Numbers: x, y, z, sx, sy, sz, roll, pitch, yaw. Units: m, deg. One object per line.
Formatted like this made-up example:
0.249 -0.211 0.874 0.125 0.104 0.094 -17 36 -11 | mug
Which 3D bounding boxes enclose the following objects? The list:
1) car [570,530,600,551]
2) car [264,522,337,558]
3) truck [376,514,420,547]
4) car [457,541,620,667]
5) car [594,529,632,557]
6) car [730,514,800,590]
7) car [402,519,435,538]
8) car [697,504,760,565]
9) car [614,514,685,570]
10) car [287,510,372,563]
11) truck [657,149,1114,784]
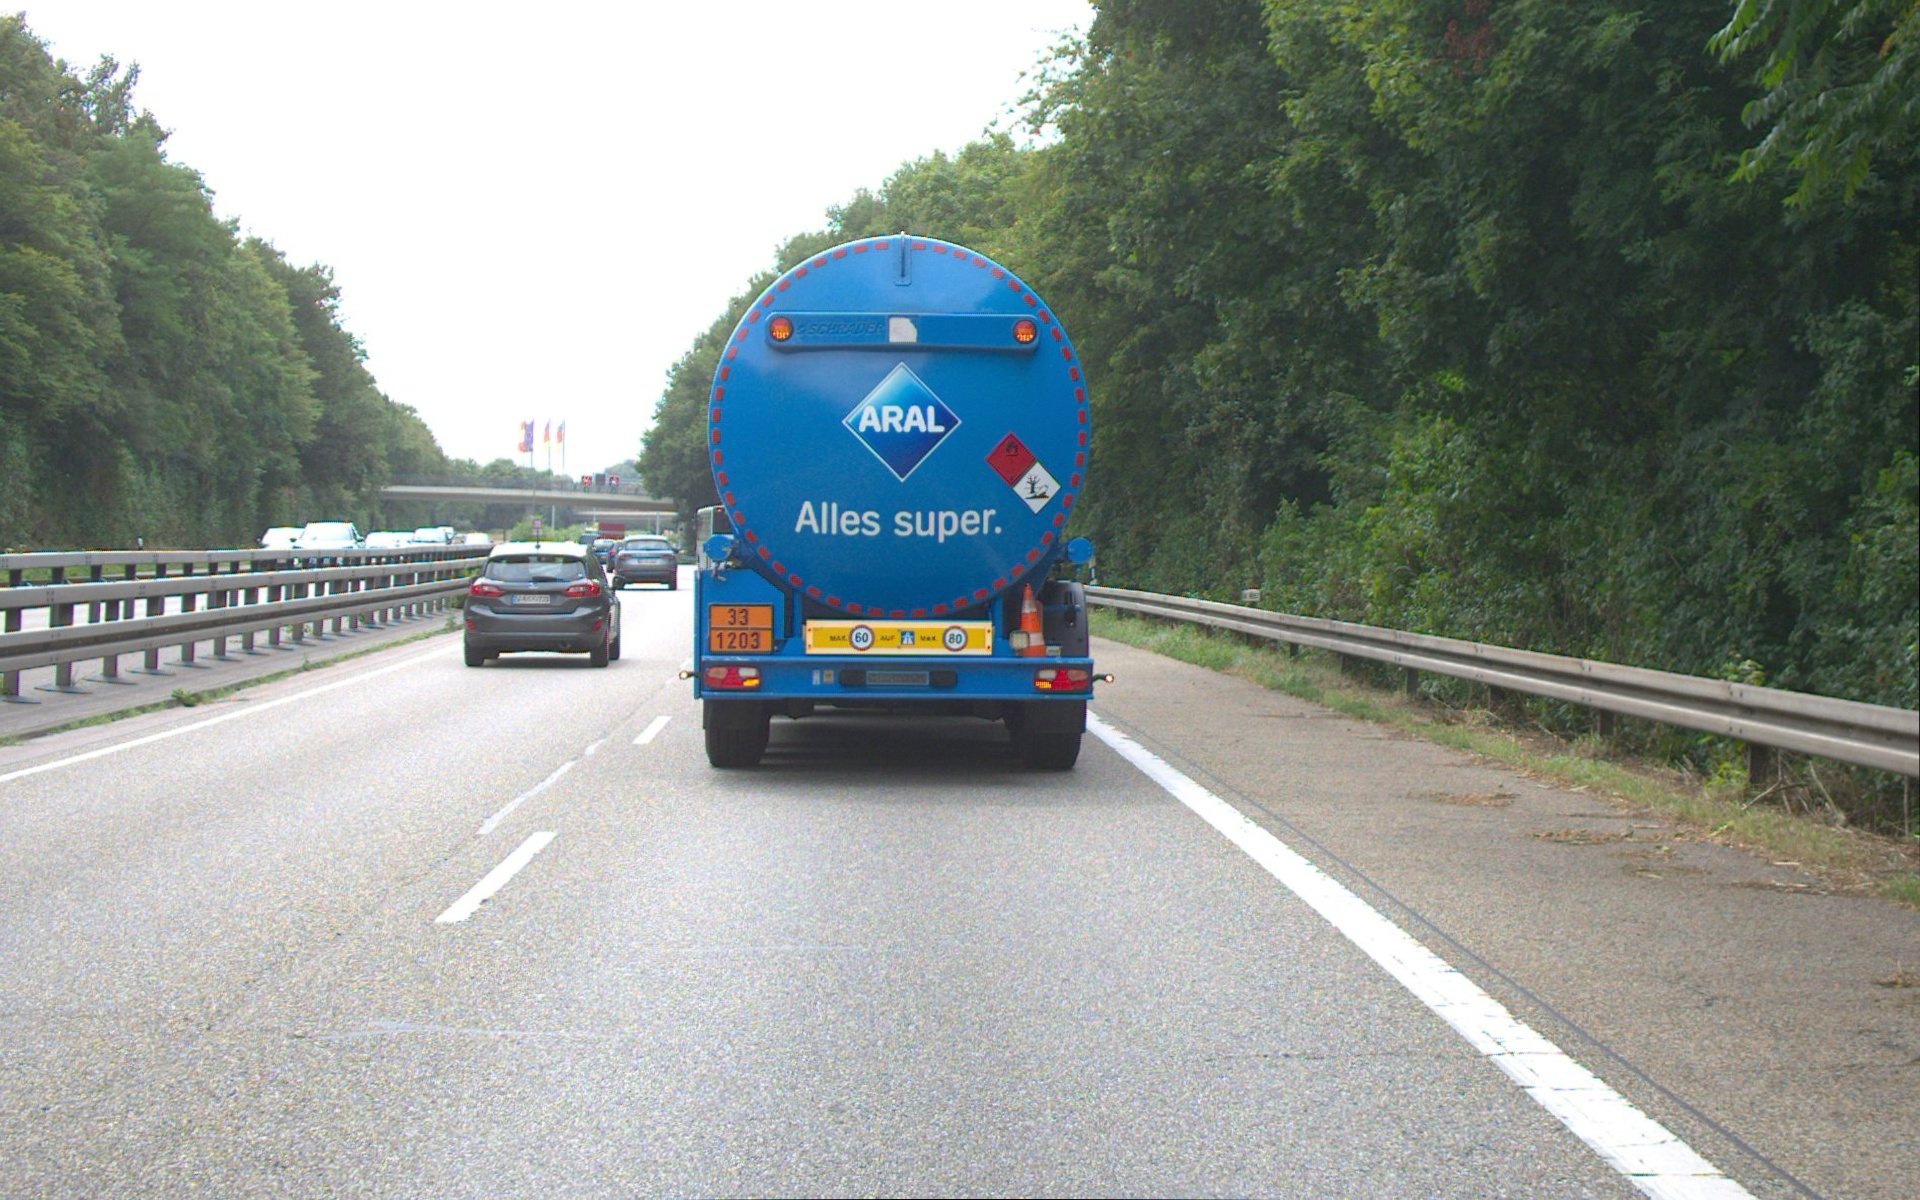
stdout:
-28.020 -4.475 256.968 1.993 1.546 4.001 0 1 -4 | car
-21.818 -1.992 113.928 1.742 1.185 4.291 0 1 -2 | car
-29.414 -3.625 179.961 1.993 1.733 4.001 0 1 -6 | truck
-5.100 0.003 42.053 1.826 1.453 4.640 0 1 -5 | car
-19.471 -3.191 192.862 1.954 1.562 4.001 0 1 -8 | car
-5.724 -1.420 101.262 1.993 2.213 4.001 0 1 -3 | car
-34.951 -4.594 222.110 1.742 1.185 4.291 0 1 -4 | car
-8.574 -2.425 127.484 1.993 2.237 4.000 0 1 1 | car
-9.159 -1.714 101.206 1.826 1.604 4.168 0 1 -9 | car
-16.850 -1.703 92.070 1.643 1.384 4.291 0 1 -2 | car
-0.477 -0.895 24.627 2.755 3.833 7.689 0 1 0 | truck
